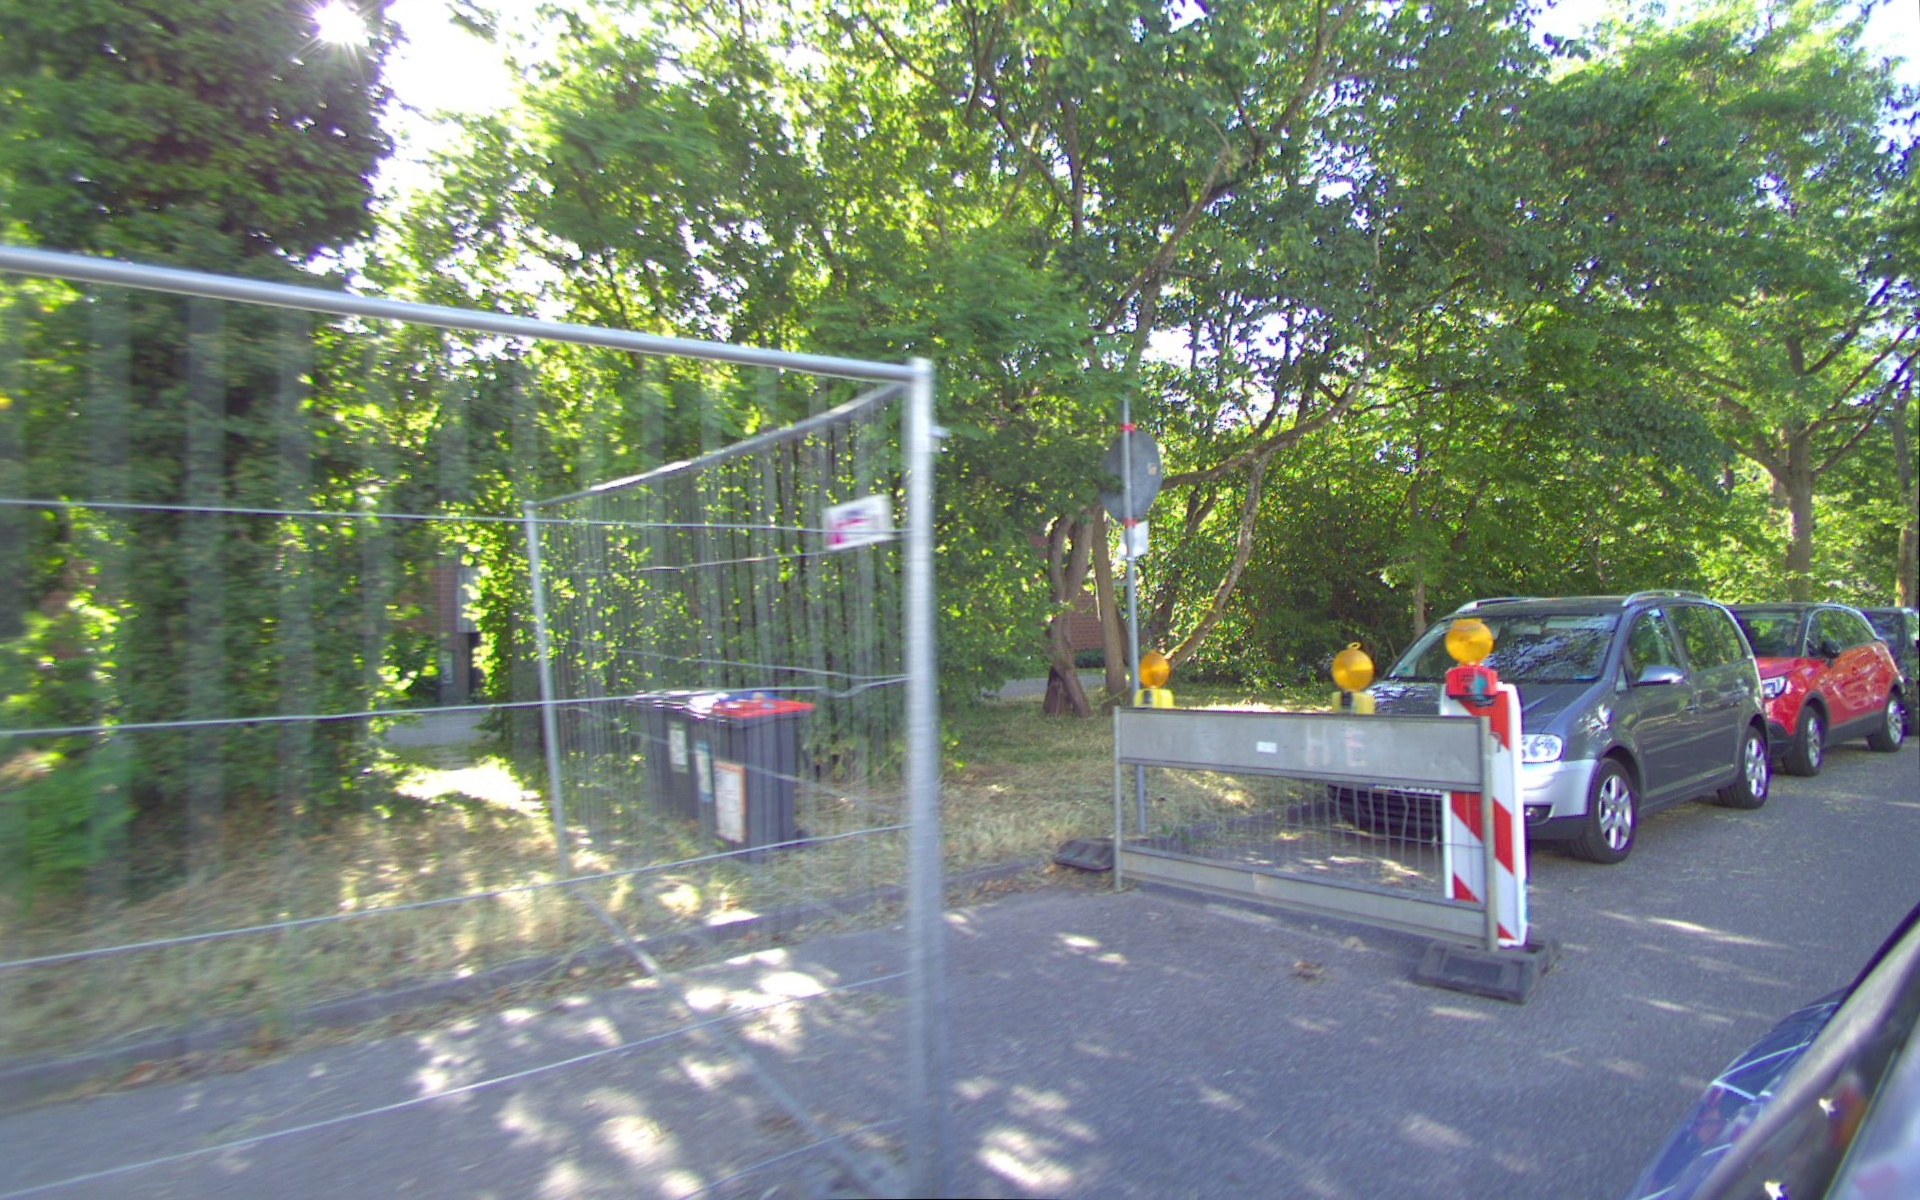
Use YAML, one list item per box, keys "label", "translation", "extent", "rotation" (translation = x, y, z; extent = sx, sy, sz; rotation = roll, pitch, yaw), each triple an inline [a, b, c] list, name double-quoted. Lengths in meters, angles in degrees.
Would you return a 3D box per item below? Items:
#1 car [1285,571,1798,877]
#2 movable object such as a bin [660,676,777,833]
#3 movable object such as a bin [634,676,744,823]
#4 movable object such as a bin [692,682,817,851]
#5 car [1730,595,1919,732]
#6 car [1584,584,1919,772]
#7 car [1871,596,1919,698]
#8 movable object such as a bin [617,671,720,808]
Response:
- label: "car"
  translation: [4.341, 0.691, 7.339]
  extent: [4.060, 1.643, 1.683]
  rotation: [0, -3, -36]
- label: "movable object such as a bin"
  translation: [-1.501, 0.932, 6.284]
  extent: [0.549, 0.872, 0.485]
  rotation: [0, -2, -38]
- label: "movable object such as a bin"
  translation: [-1.795, 0.958, 6.684]
  extent: [0.549, 0.872, 0.485]
  rotation: [0, -2, -38]
- label: "movable object such as a bin"
  translation: [-1.199, 0.938, 5.895]
  extent: [0.549, 0.872, 0.485]
  rotation: [0, -2, -38]
- label: "car"
  translation: [11.785, 0.737, 13.243]
  extent: [4.074, 1.529, 1.715]
  rotation: [0, -3, -38]
- label: "car"
  translation: [8.311, 0.686, 10.427]
  extent: [3.988, 1.594, 1.684]
  rotation: [0, -2, -35]
- label: "car"
  translation: [15.697, 0.692, 15.807]
  extent: [2.625, 1.529, 1.498]
  rotation: [0, -2, -33]
- label: "movable object such as a bin"
  translation: [-2.050, 0.956, 7.111]
  extent: [0.549, 0.872, 0.485]
  rotation: [0, -2, -38]
